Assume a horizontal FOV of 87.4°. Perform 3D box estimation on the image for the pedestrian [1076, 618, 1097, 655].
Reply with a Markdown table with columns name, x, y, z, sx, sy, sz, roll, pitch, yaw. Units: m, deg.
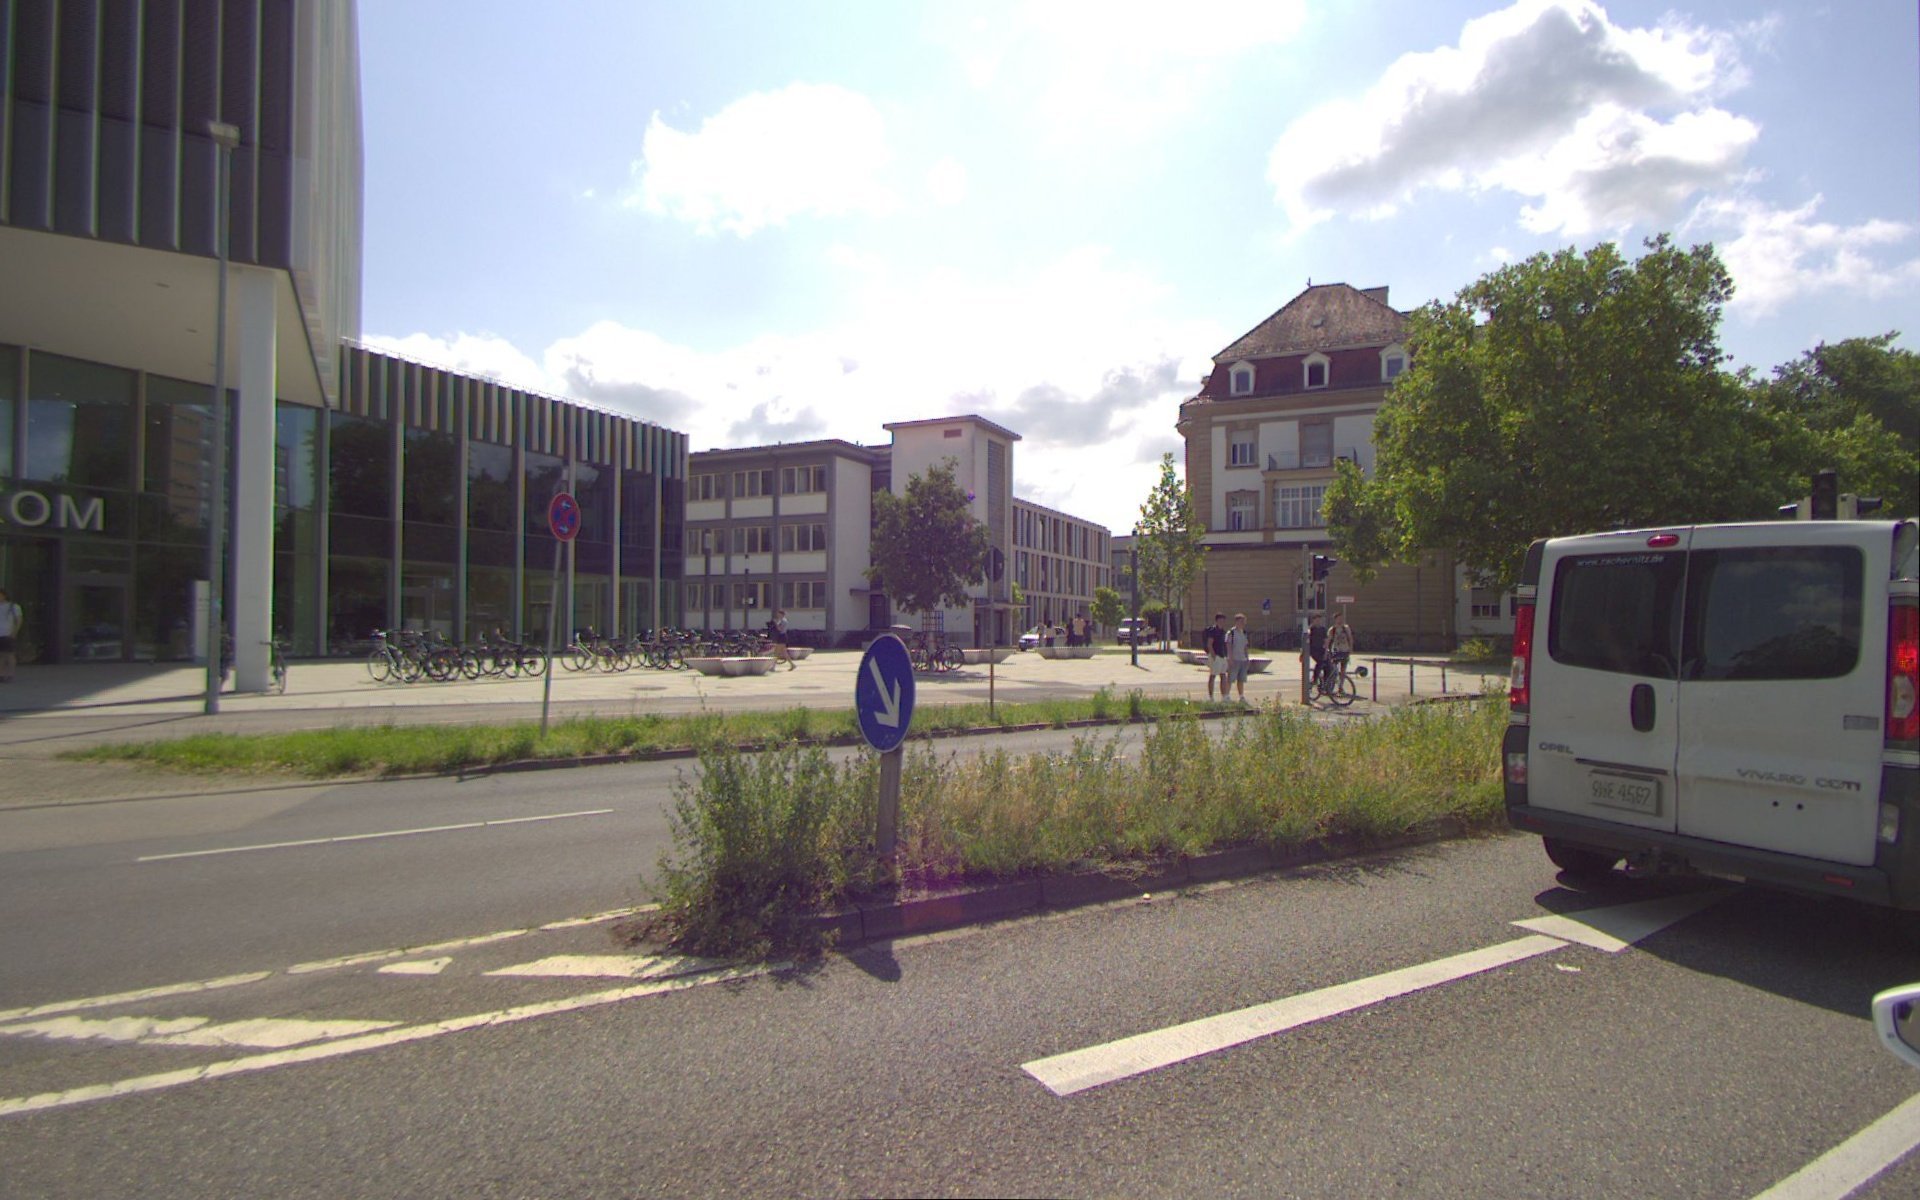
| name | x | y | z | sx | sy | sz | roll | pitch | yaw |
| --- | --- | --- | --- | --- | --- | --- | --- | --- | --- |
| pedestrian | 6.322 | 1.806 | 50.202 | 0.850 | 1.813 | 0.842 | 0 | -1 | -9 |

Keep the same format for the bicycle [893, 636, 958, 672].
| name | x | y | z | sx | sy | sz | roll | pitch | yaw |
| --- | --- | --- | --- | --- | --- | --- | --- | --- | --- |
| bicycle | -0.969 | 1.499 | 28.148 | 1.737 | 0.968 | 0.529 | 1 | -1 | 8 |

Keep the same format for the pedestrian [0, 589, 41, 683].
| name | x | y | z | sx | sy | sz | roll | pitch | yaw |
| --- | --- | --- | --- | --- | --- | --- | --- | --- | --- |
| pedestrian | -19.142 | 0.717 | 20.258 | 0.668 | 1.866 | 0.687 | 1 | -1 | -23 |

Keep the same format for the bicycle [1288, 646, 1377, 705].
| name | x | y | z | sx | sy | sz | roll | pitch | yaw |
| --- | --- | --- | --- | --- | --- | --- | --- | --- | --- |
| bicycle | 7.960 | 1.592 | 21.503 | 0.691 | 1.139 | 1.649 | 1 | -1 | -45 |

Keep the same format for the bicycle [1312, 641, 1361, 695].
| name | x | y | z | sx | sy | sz | roll | pitch | yaw |
| --- | --- | --- | --- | --- | --- | --- | --- | --- | --- |
| bicycle | 8.913 | 1.584 | 23.731 | 0.684 | 1.139 | 1.666 | -1 | 1 | 35 |

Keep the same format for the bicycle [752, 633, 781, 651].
| name | x | y | z | sx | sy | sz | roll | pitch | yaw |
| --- | --- | --- | --- | --- | --- | --- | --- | --- | --- |
| bicycle | -10.828 | 2.349 | 56.233 | 0.520 | 0.968 | 1.770 | 1 | -1 | 31 |

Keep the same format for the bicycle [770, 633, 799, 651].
| name | x | y | z | sx | sy | sz | roll | pitch | yaw |
| --- | --- | --- | --- | --- | --- | --- | --- | --- | --- |
| bicycle | -9.674 | 2.319 | 55.564 | 0.520 | 0.968 | 1.770 | 1 | -1 | 31 |

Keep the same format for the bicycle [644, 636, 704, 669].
| name | x | y | z | sx | sy | sz | roll | pitch | yaw |
| --- | --- | --- | --- | --- | --- | --- | --- | --- | --- |
| bicycle | -8.863 | 1.609 | 31.100 | 1.737 | 0.968 | 0.529 | 0 | -1 | 14 |

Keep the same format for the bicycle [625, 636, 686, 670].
| name | x | y | z | sx | sy | sz | roll | pitch | yaw |
| --- | --- | --- | --- | --- | --- | --- | --- | --- | --- |
| bicycle | -9.210 | 1.589 | 30.392 | 1.737 | 0.968 | 0.529 | 0 | -1 | 14 |

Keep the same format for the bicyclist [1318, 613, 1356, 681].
| name | x | y | z | sx | sy | sz | roll | pitch | yaw |
| --- | --- | --- | --- | --- | --- | --- | --- | --- | --- |
| bicyclist | 8.877 | 1.090 | 23.650 | 0.646 | 1.559 | 0.783 | -1 | -1 | 35 |

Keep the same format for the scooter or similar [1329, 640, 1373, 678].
| name | x | y | z | sx | sy | sz | roll | pitch | yaw |
| --- | --- | --- | --- | --- | --- | --- | --- | --- | --- |
| scooter or similar | 11.450 | 1.707 | 29.417 | 1.131 | 1.081 | 0.402 | -1 | -2 | 33 |

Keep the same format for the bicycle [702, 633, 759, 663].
| name | x | y | z | sx | sy | sz | roll | pitch | yaw |
| --- | --- | --- | --- | --- | --- | --- | --- | --- | --- |
| bicycle | -7.639 | 1.583 | 33.465 | 1.737 | 0.968 | 0.529 | 1 | -1 | 8 |

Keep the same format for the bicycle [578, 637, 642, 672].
| name | x | y | z | sx | sy | sz | roll | pitch | yaw |
| --- | --- | --- | --- | --- | --- | --- | --- | --- | --- |
| bicycle | -10.009 | 1.554 | 28.715 | 1.738 | 0.968 | 0.529 | 0 | -1 | 16 |

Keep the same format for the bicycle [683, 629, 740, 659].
| name | x | y | z | sx | sy | sz | roll | pitch | yaw |
| --- | --- | --- | --- | --- | --- | --- | --- | --- | --- |
| bicycle | -8.115 | 1.428 | 32.799 | 1.737 | 0.968 | 0.529 | 1 | -1 | 8 |

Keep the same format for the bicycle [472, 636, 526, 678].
| name | x | y | z | sx | sy | sz | roll | pitch | yaw |
| --- | --- | --- | --- | --- | --- | --- | --- | --- | --- |
| bicycle | -11.517 | 1.409 | 25.091 | 1.747 | 0.968 | 0.526 | 0 | -1 | 40 |

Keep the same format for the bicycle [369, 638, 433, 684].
| name | x | y | z | sx | sy | sz | roll | pitch | yaw |
| --- | --- | --- | --- | --- | --- | --- | --- | --- | --- |
| bicycle | -12.564 | 1.357 | 22.568 | 1.516 | 0.968 | 0.373 | 0 | -1 | 21 |

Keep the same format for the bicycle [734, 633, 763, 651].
| name | x | y | z | sx | sy | sz | roll | pitch | yaw |
| --- | --- | --- | --- | --- | --- | --- | --- | --- | --- |
| bicycle | -11.961 | 2.370 | 56.747 | 0.520 | 0.968 | 1.770 | 1 | -1 | 31 |

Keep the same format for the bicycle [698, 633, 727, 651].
| name | x | y | z | sx | sy | sz | roll | pitch | yaw |
| --- | --- | --- | --- | --- | --- | --- | --- | --- | --- |
| bicycle | -14.141 | 2.394 | 57.422 | 0.520 | 0.968 | 1.770 | 1 | -1 | 31 |

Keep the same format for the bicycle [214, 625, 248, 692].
| name | x | y | z | sx | sy | sz | roll | pitch | yaw |
| --- | --- | --- | --- | --- | --- | --- | --- | --- | --- |
| bicycle | -14.056 | 1.116 | 19.389 | 0.369 | 1.203 | 1.533 | 2 | -1 | -31 |

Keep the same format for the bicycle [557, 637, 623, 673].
| name | x | y | z | sx | sy | sz | roll | pitch | yaw |
| --- | --- | --- | --- | --- | --- | --- | --- | --- | --- |
| bicycle | -10.295 | 1.528 | 27.975 | 1.738 | 0.968 | 0.529 | 0 | -1 | 16 |

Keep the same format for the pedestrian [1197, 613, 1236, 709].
| name | x | y | z | sx | sy | sz | roll | pitch | yaw |
| --- | --- | --- | --- | --- | --- | --- | --- | --- | --- |
| pedestrian | 5.130 | 1.208 | 20.086 | 0.629 | 1.866 | 0.473 | 1 | -1 | -45 |

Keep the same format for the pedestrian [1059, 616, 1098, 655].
| name | x | y | z | sx | sy | sz | roll | pitch | yaw |
| --- | --- | --- | --- | --- | --- | --- | --- | --- | --- |
| pedestrian | 5.123 | 1.523 | 43.485 | 1.279 | 1.673 | 1.321 | 0 | -1 | -18 |

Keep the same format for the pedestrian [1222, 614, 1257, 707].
| name | x | y | z | sx | sy | sz | roll | pitch | yaw |
| --- | --- | --- | --- | --- | --- | --- | --- | --- | --- |
| pedestrian | 5.731 | 1.224 | 20.577 | 0.570 | 1.866 | 0.411 | 1 | -1 | -35 |

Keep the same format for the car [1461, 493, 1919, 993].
| name | x | y | z | sx | sy | sz | roll | pitch | yaw |
| --- | --- | --- | --- | --- | --- | --- | --- | --- | --- |
| car | 5.550 | 0.616 | 6.136 | 5.132 | 1.981 | 1.997 | 1 | -1 | -30 |

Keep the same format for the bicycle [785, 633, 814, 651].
| name | x | y | z | sx | sy | sz | roll | pitch | yaw |
| --- | --- | --- | --- | --- | --- | --- | --- | --- | --- |
| bicycle | -8.809 | 2.286 | 55.118 | 0.520 | 0.968 | 1.770 | 1 | -1 | 31 |

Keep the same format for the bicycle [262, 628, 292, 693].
| name | x | y | z | sx | sy | sz | roll | pitch | yaw |
| --- | --- | --- | --- | --- | --- | --- | --- | --- | --- |
| bicycle | -13.511 | 1.181 | 19.886 | 0.369 | 1.203 | 1.533 | 2 | -1 | -31 |

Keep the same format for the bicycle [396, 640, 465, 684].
| name | x | y | z | sx | sy | sz | roll | pitch | yaw |
| --- | --- | --- | --- | --- | --- | --- | --- | --- | --- |
| bicycle | -12.404 | 1.448 | 23.521 | 1.739 | 0.968 | 0.373 | 0 | -1 | 21 |

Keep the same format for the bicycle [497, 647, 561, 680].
| name | x | y | z | sx | sy | sz | roll | pitch | yaw |
| --- | --- | --- | --- | --- | --- | --- | --- | --- | --- |
| bicycle | -11.072 | 1.629 | 25.768 | 1.741 | 0.774 | 0.528 | 0 | -1 | 28 |

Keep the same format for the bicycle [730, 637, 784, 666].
| name | x | y | z | sx | sy | sz | roll | pitch | yaw |
| --- | --- | --- | --- | --- | --- | --- | --- | --- | --- |
| bicycle | -7.005 | 1.777 | 34.683 | 1.737 | 0.968 | 0.529 | 1 | -1 | 8 |

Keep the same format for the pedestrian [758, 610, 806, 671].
| name | x | y | z | sx | sy | sz | roll | pitch | yaw |
| --- | --- | --- | --- | --- | --- | --- | --- | --- | --- |
| pedestrian | -5.015 | 1.132 | 28.259 | 1.003 | 1.672 | 1.173 | 1 | -2 | -30 |

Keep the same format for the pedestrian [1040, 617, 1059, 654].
| name | x | y | z | sx | sy | sz | roll | pitch | yaw |
| --- | --- | --- | --- | --- | --- | --- | --- | --- | --- |
| pedestrian | 4.468 | 1.766 | 50.204 | 0.799 | 1.813 | 0.843 | 0 | -1 | -6 |

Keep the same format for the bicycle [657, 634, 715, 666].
| name | x | y | z | sx | sy | sz | roll | pitch | yaw |
| --- | --- | --- | --- | --- | --- | --- | --- | --- | --- |
| bicycle | -8.672 | 1.582 | 31.820 | 1.737 | 0.968 | 0.529 | 0 | -1 | 14 |

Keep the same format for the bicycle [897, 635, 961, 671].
| name | x | y | z | sx | sy | sz | roll | pitch | yaw |
| --- | --- | --- | --- | --- | --- | --- | --- | --- | --- |
| bicycle | -0.885 | 1.509 | 28.738 | 1.737 | 0.968 | 0.529 | 1 | -1 | 8 |

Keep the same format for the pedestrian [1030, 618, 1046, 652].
| name | x | y | z | sx | sy | sz | roll | pitch | yaw |
| --- | --- | --- | --- | --- | --- | --- | --- | --- | --- |
| pedestrian | 4.230 | 1.881 | 54.382 | 0.664 | 1.813 | 0.844 | 0 | -1 | 17 |

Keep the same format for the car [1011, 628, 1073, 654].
| name | x | y | z | sx | sy | sz | roll | pitch | yaw |
| --- | --- | --- | --- | --- | --- | --- | --- | --- | --- |
| car | 4.739 | 2.327 | 57.543 | 1.963 | 1.323 | 4.488 | 1 | 0 | 28 |

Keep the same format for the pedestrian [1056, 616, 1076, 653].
| name | x | y | z | sx | sy | sz | roll | pitch | yaw |
| --- | --- | --- | --- | --- | --- | --- | --- | --- | --- |
| pedestrian | 5.317 | 1.722 | 50.399 | 0.876 | 1.813 | 0.843 | 0 | -1 | -6 |

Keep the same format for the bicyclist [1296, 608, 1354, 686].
| name | x | y | z | sx | sy | sz | roll | pitch | yaw |
| --- | --- | --- | --- | --- | --- | --- | --- | --- | --- |
| bicyclist | 7.849 | 0.991 | 21.611 | 0.653 | 1.637 | 0.986 | 1 | -2 | -44 |

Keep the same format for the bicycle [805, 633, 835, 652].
| name | x | y | z | sx | sy | sz | roll | pitch | yaw |
| --- | --- | --- | --- | --- | --- | --- | --- | --- | --- |
| bicycle | -7.612 | 2.308 | 54.616 | 0.520 | 0.968 | 1.768 | 1 | -1 | 34 |
